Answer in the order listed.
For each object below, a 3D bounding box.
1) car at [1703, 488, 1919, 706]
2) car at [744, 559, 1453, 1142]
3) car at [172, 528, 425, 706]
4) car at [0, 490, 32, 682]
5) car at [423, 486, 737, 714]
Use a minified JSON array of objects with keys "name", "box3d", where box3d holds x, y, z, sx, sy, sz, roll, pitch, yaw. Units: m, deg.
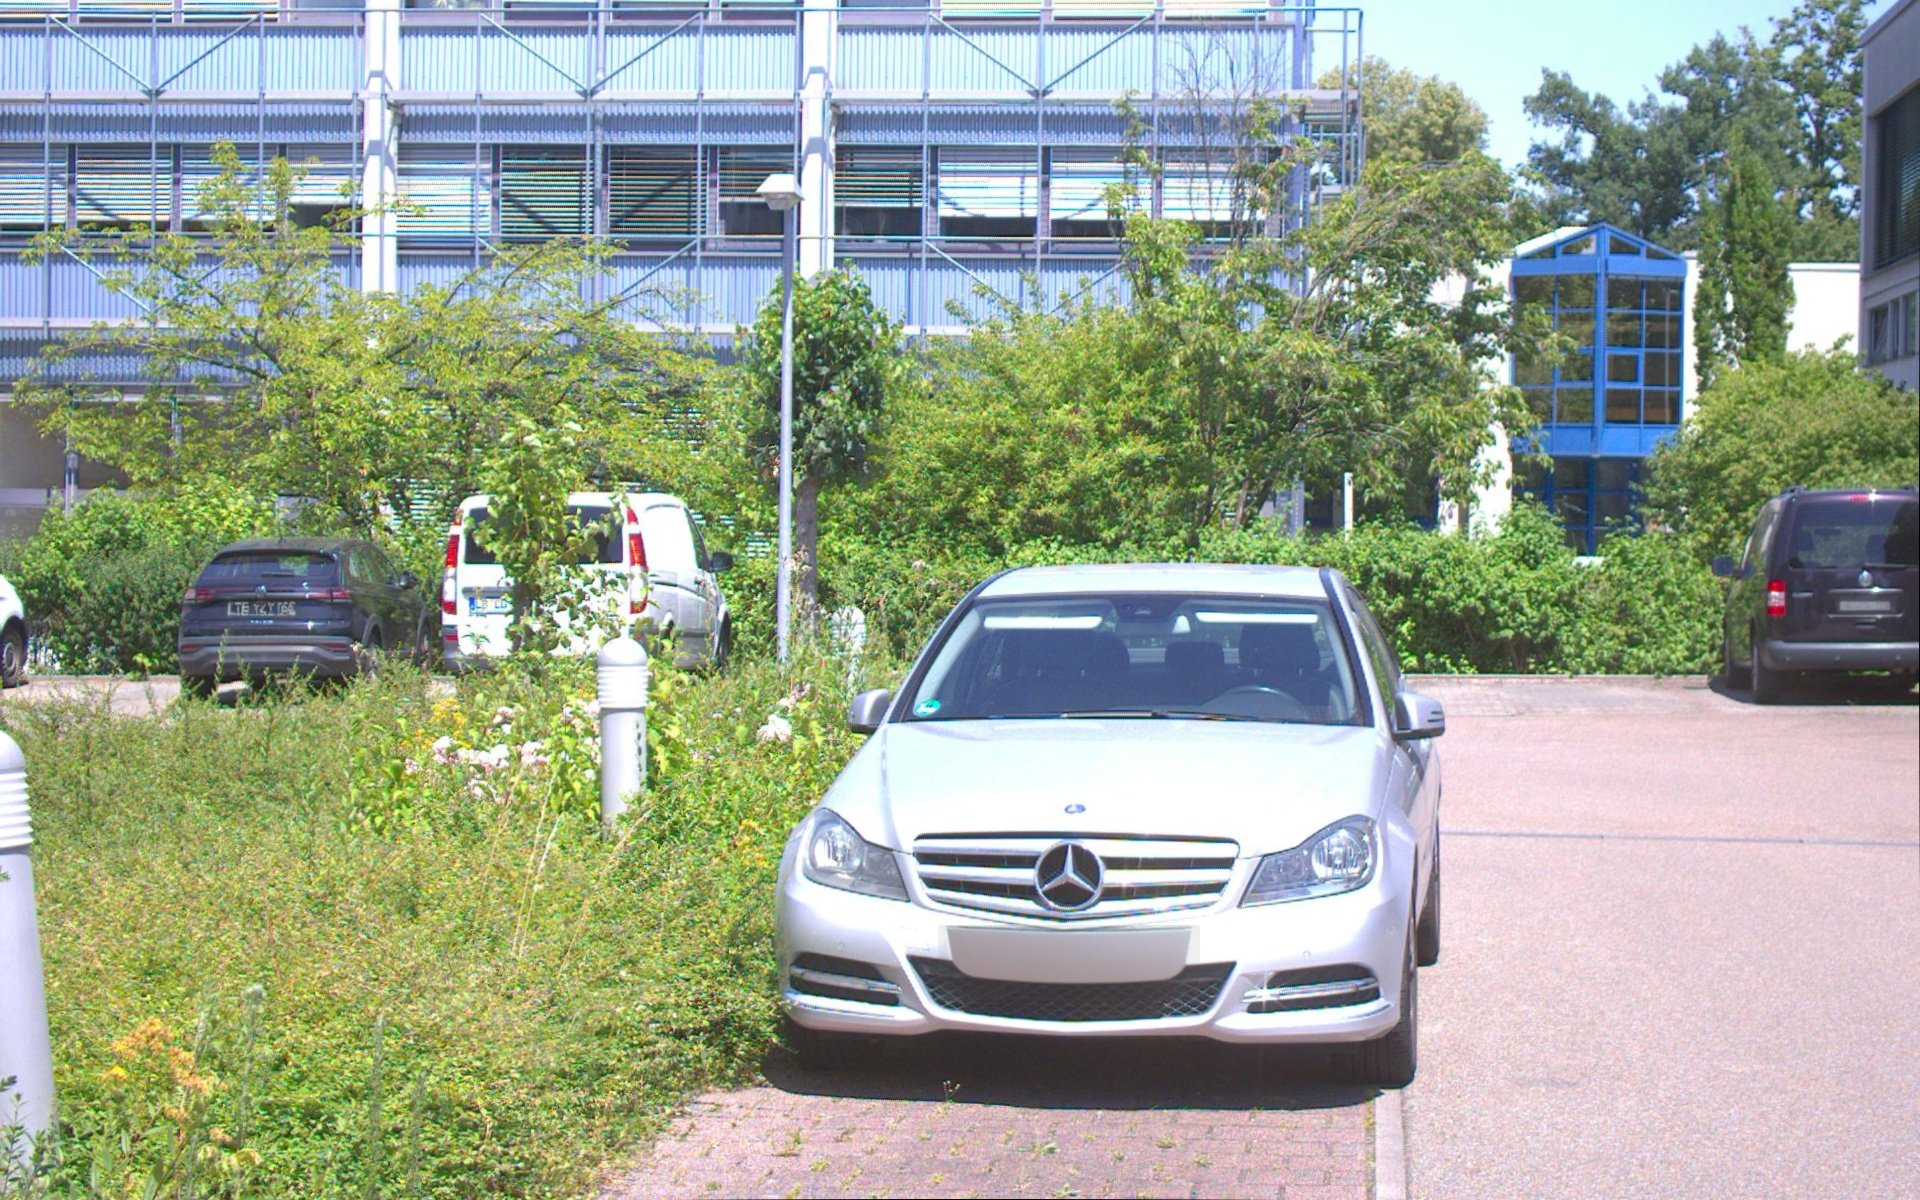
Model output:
[{"name":"car","box3d":[7.769,-0.080,30.853,1.743,1.830,3.999,0,2,6]},{"name":"car","box3d":[0.633,0.608,10.830,1.730,1.452,4.146,0,1,9]},{"name":"car","box3d":[-6.093,0.107,32.068,1.754,1.471,4.001,-1,2,-3]},{"name":"car","box3d":[-10.575,-0.082,32.218,1.882,1.884,4.802,0,2,8]},{"name":"car","box3d":[-3.365,-0.076,31.419,1.913,1.898,4.807,0,2,5]}]
